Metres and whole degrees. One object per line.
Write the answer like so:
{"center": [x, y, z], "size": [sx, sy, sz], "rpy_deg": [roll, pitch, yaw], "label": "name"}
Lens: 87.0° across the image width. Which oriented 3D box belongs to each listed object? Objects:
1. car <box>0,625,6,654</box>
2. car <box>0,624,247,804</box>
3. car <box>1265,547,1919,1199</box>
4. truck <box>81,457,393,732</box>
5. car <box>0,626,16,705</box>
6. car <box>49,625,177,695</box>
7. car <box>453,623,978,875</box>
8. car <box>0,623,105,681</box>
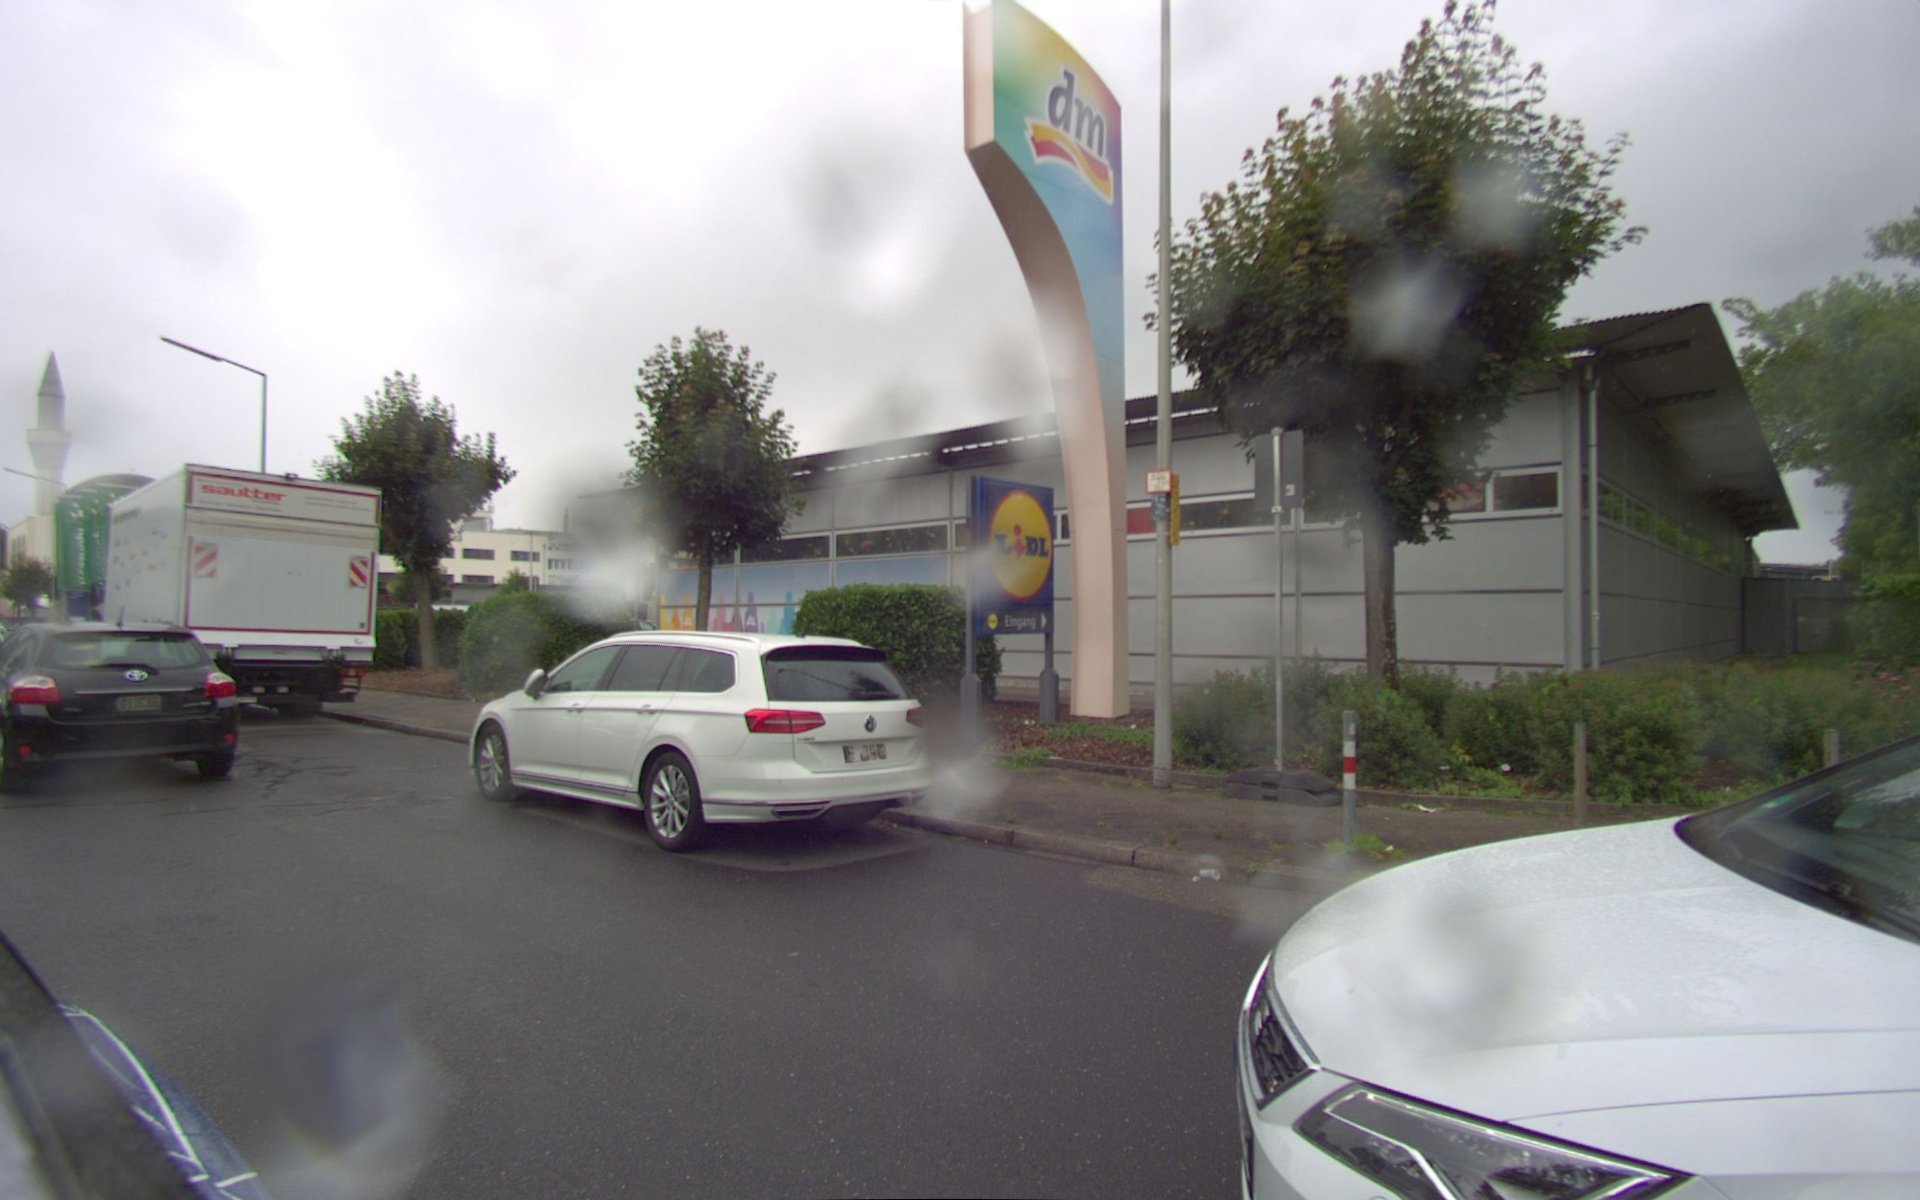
{"center": [-46.857, 1.893, 48.276], "size": [3.608, 1.351, 1.559], "rpy_deg": [-1, -2, 40], "label": "car"}
{"center": [-8.820, 0.992, 10.086], "size": [3.994, 1.452, 1.714], "rpy_deg": [-2, -3, 38], "label": "car"}
{"center": [2.631, 0.692, 1.580], "size": [3.959, 1.452, 1.729], "rpy_deg": [0, -2, 12], "label": "car"}
{"center": [-12.820, 0.015, 17.604], "size": [7.867, 3.775, 2.850], "rpy_deg": [-1, -2, 43], "label": "truck"}
{"center": [-19.453, 1.211, 19.316], "size": [3.404, 1.449, 1.595], "rpy_deg": [-1, -3, 39], "label": "car"}
{"center": [-19.502, 1.321, 23.259], "size": [3.510, 1.477, 1.670], "rpy_deg": [-1, -2, 40], "label": "car"}
{"center": [-2.143, 0.933, 8.016], "size": [4.490, 1.445, 1.816], "rpy_deg": [-1, -3, 42], "label": "car"}
{"center": [-24.662, 1.363, 27.446], "size": [3.510, 1.477, 1.670], "rpy_deg": [-1, -2, 40], "label": "car"}
